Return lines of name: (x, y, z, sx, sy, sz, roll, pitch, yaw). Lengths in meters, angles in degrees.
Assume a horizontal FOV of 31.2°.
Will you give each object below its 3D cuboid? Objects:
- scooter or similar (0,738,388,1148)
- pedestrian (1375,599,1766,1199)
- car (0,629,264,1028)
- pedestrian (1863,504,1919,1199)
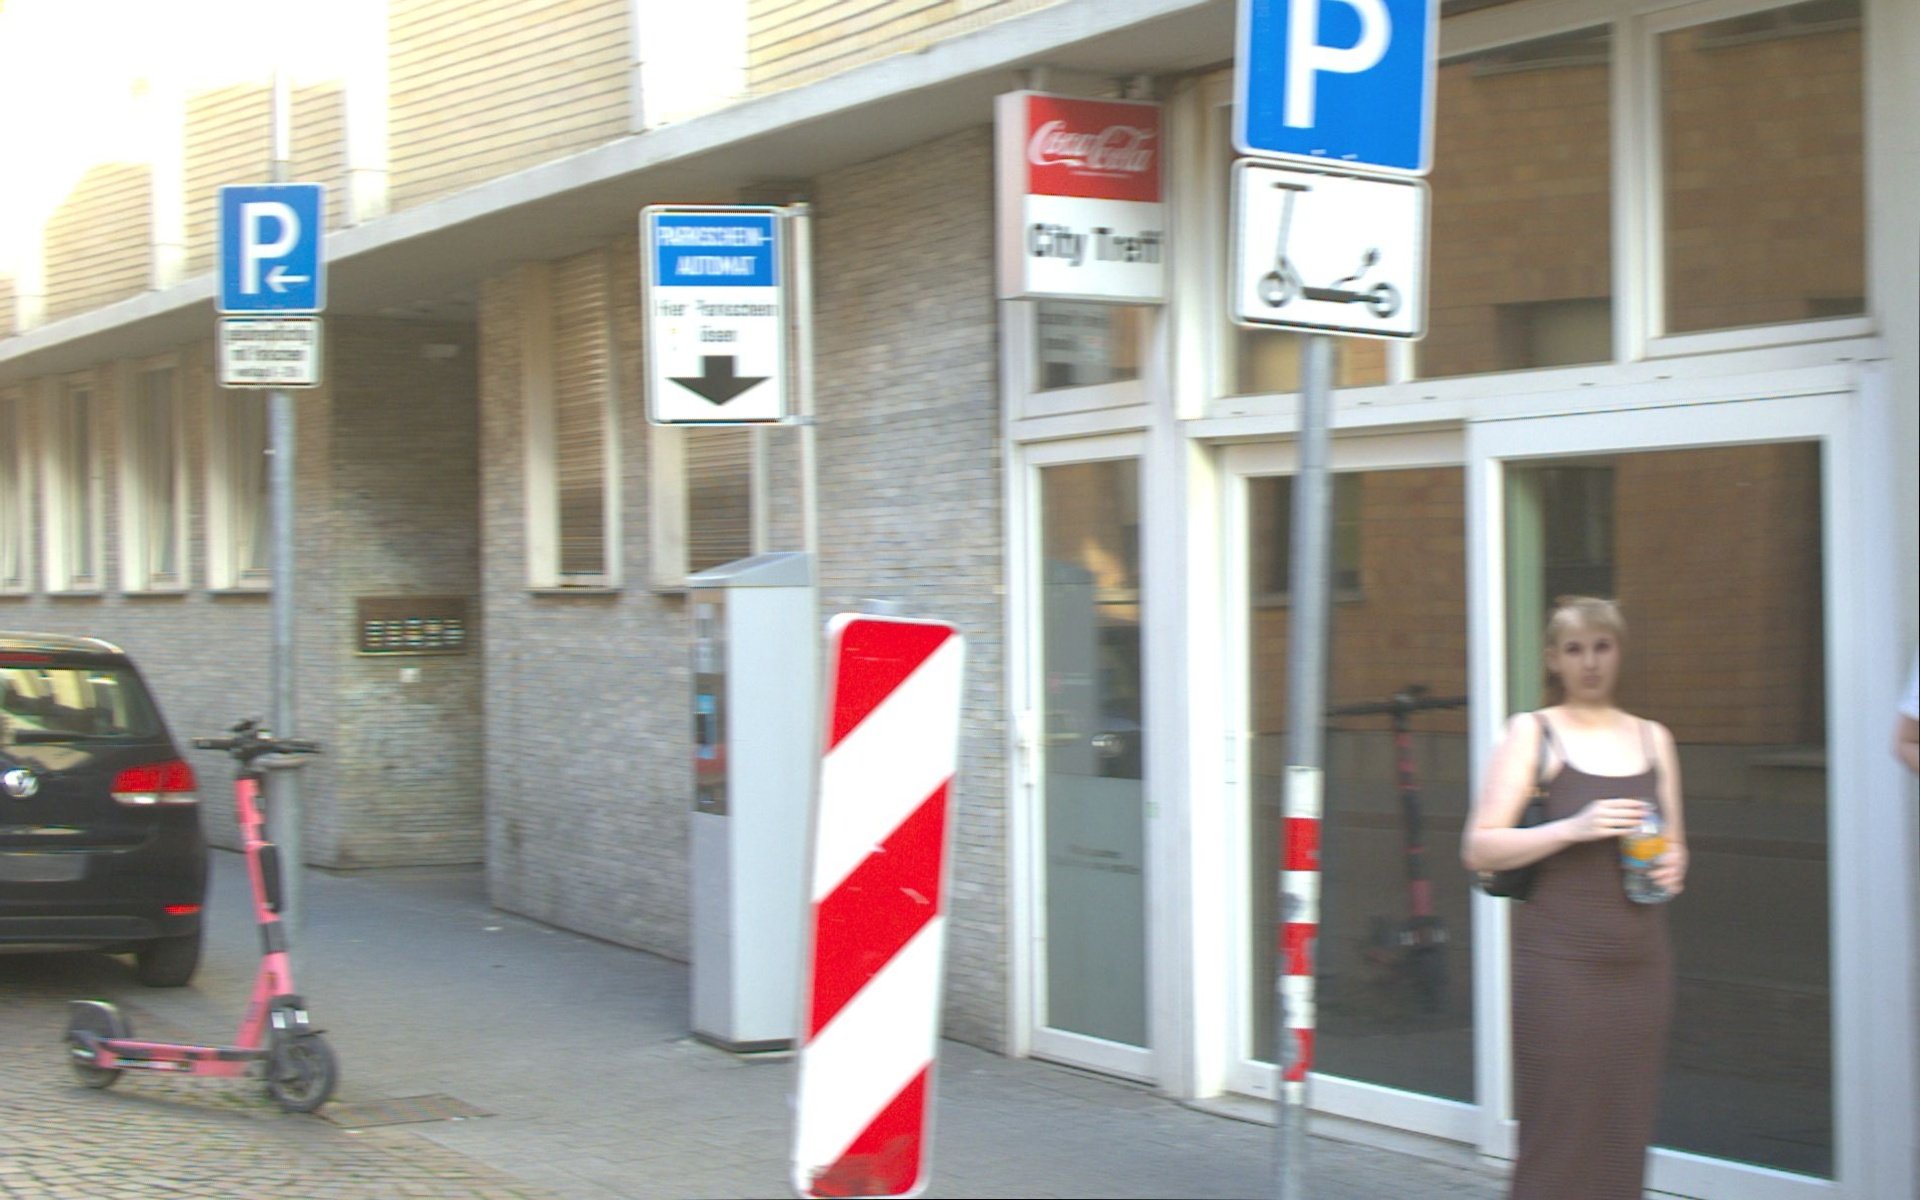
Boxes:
scooter or similar: (-2.475, 1.058, 10.946, 1.305, 1.190, 0.493, 0, 0, 35)
pedestrian: (1.212, 0.782, 6.808, 0.572, 1.535, 0.441, -3, 1, -18)
car: (-4.620, 0.877, 15.233, 1.822, 1.500, 4.600, 2, -1, -27)
pedestrian: (2.147, 0.676, 6.876, 0.625, 1.730, 0.622, 0, 0, 17)
